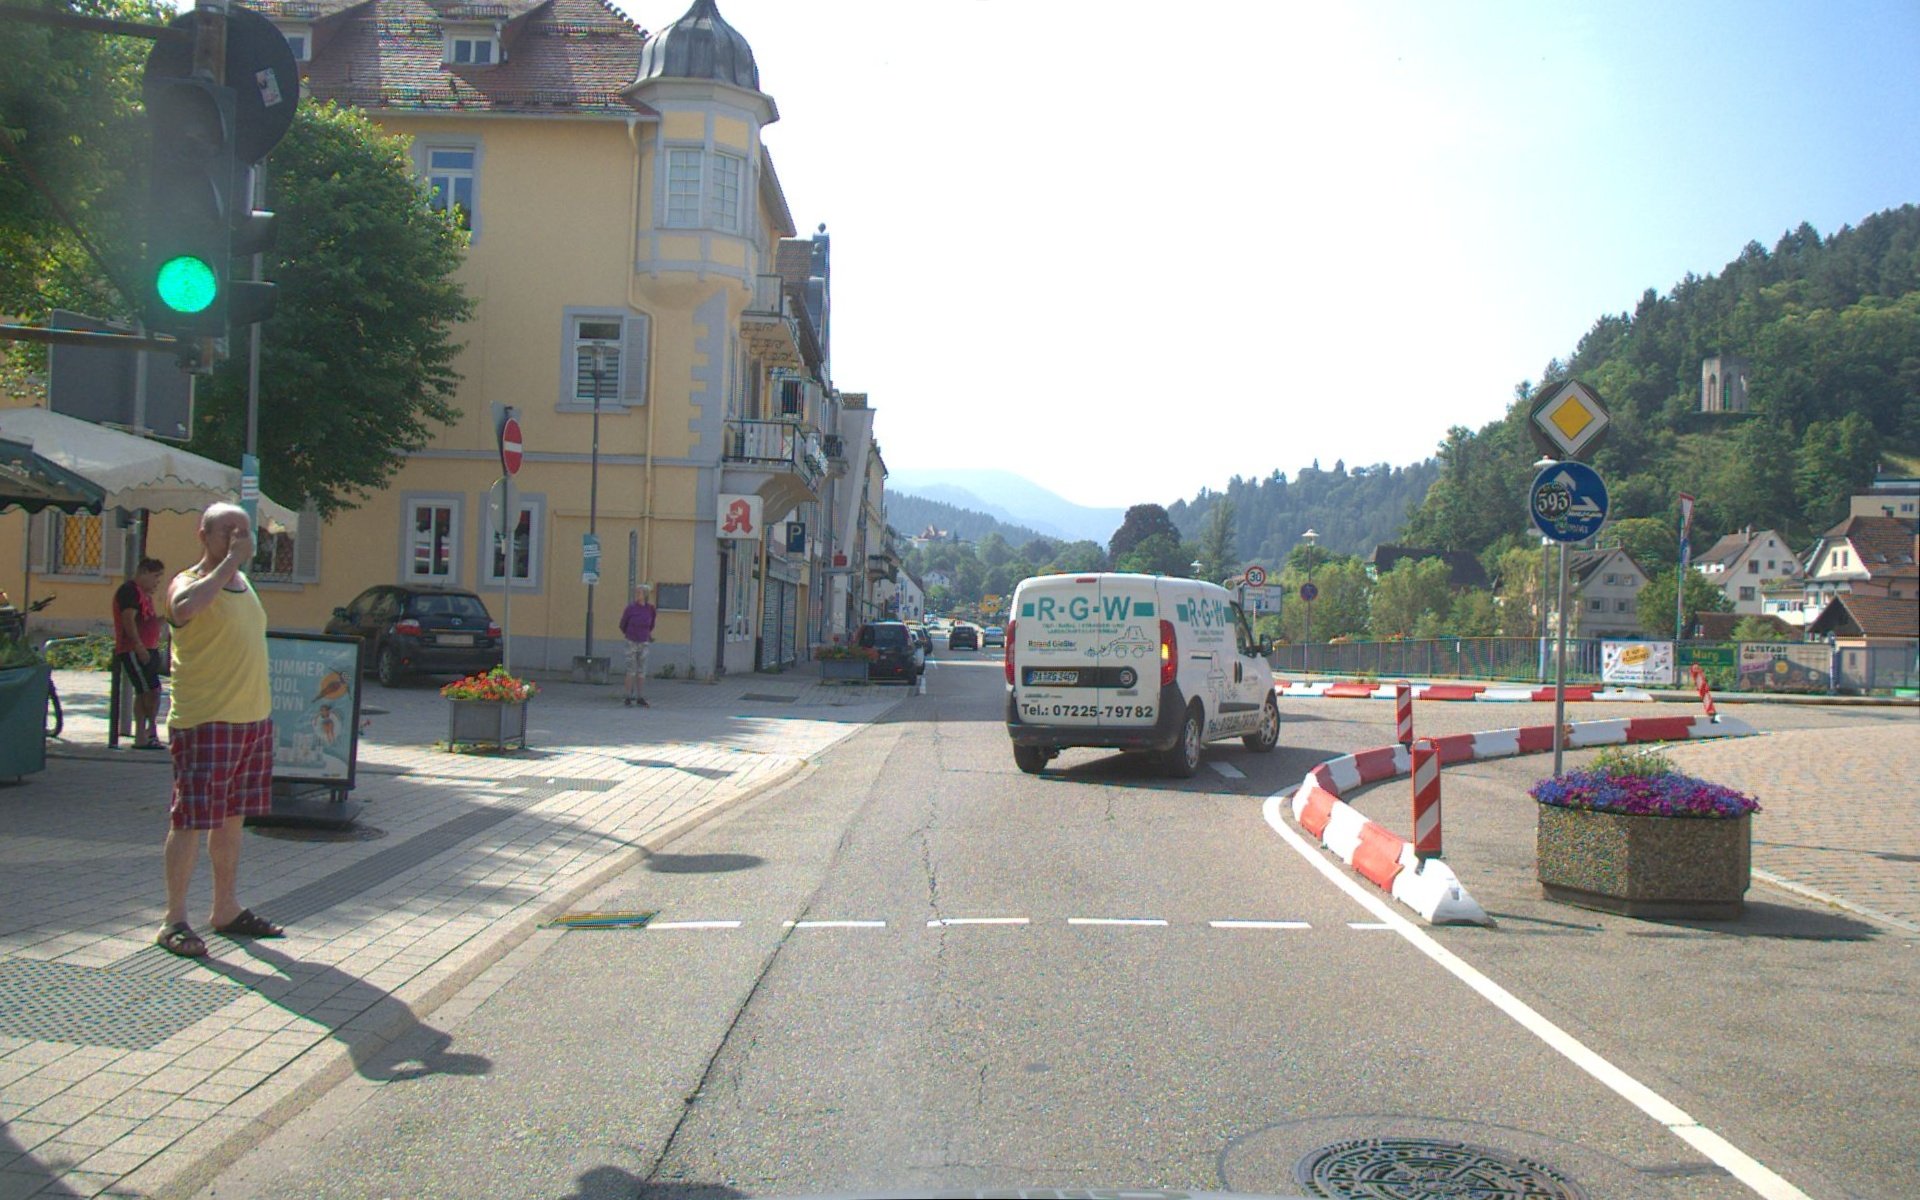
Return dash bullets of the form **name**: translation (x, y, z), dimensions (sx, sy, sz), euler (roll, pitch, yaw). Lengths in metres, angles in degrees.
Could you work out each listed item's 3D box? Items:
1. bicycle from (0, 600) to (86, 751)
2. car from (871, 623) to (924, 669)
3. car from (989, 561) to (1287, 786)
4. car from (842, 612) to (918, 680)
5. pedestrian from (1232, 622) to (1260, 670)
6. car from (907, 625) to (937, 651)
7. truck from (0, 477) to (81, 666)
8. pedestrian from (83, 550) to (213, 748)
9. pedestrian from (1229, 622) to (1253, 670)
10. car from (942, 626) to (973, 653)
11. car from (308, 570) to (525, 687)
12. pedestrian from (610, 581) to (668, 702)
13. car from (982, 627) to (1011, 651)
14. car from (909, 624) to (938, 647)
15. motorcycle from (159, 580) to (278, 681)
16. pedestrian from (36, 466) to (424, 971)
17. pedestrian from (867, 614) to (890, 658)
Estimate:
- **bicycle**: translation (-8.457, 0.642, 14.831), dimensions (0.605, 1.256, 1.856), euler (2, -1, -13)
- **car**: translation (-2.088, 1.520, 55.663), dimensions (1.712, 1.473, 3.793), euler (1, -1, -2)
- **car**: translation (1.954, 0.605, 16.776), dimensions (1.807, 1.939, 4.313), euler (1, 1, 23)
- **car**: translation (-1.986, 1.131, 41.608), dimensions (1.809, 1.596, 3.566), euler (1, -1, -2)
- **pedestrian**: translation (10.398, 1.669, 60.138), dimensions (0.849, 1.736, 0.777), euler (2, -1, 1)
- **car**: translation (-2.231, 2.207, 97.590), dimensions (1.712, 1.473, 3.275), euler (1, -1, -2)
- **truck**: translation (-18.606, -0.645, 25.178), dimensions (8.654, 2.806, 3.010), euler (3, 0, -1)
- **pedestrian**: translation (-7.228, 0.442, 14.754), dimensions (0.558, 1.687, 0.884), euler (2, -3, 5)
- **pedestrian**: translation (10.333, 1.692, 60.803), dimensions (0.773, 1.736, 0.491), euler (2, -1, 1)
- **car**: translation (-0.170, 2.618, 110.542), dimensions (1.953, 1.691, 3.999), euler (2, -1, -1)
- **car**: translation (-8.662, 0.420, 26.174), dimensions (1.905, 1.569, 3.902), euler (3, 1, -40)
- **pedestrian**: translation (-4.741, 0.608, 24.437), dimensions (0.664, 1.744, 0.617), euler (2, 0, 0)
- **car**: translation (2.732, 2.914, 123.509), dimensions (1.953, 1.691, 3.999), euler (2, -1, -1)
- **car**: translation (-2.036, 1.944, 91.429), dimensions (1.532, 1.241, 3.275), euler (1, -1, -2)
- **motorcycle**: translation (-11.031, 0.423, 24.702), dimensions (0.867, 1.384, 2.087), euler (2, 2, -2)
- **pedestrian**: translation (-2.997, 0.450, 6.812), dimensions (1.001, 1.846, 0.904), euler (6, -1, 36)
- **pedestrian**: translation (-3.226, 1.423, 65.591), dimensions (0.675, 1.726, 0.659), euler (0, -1, 26)
